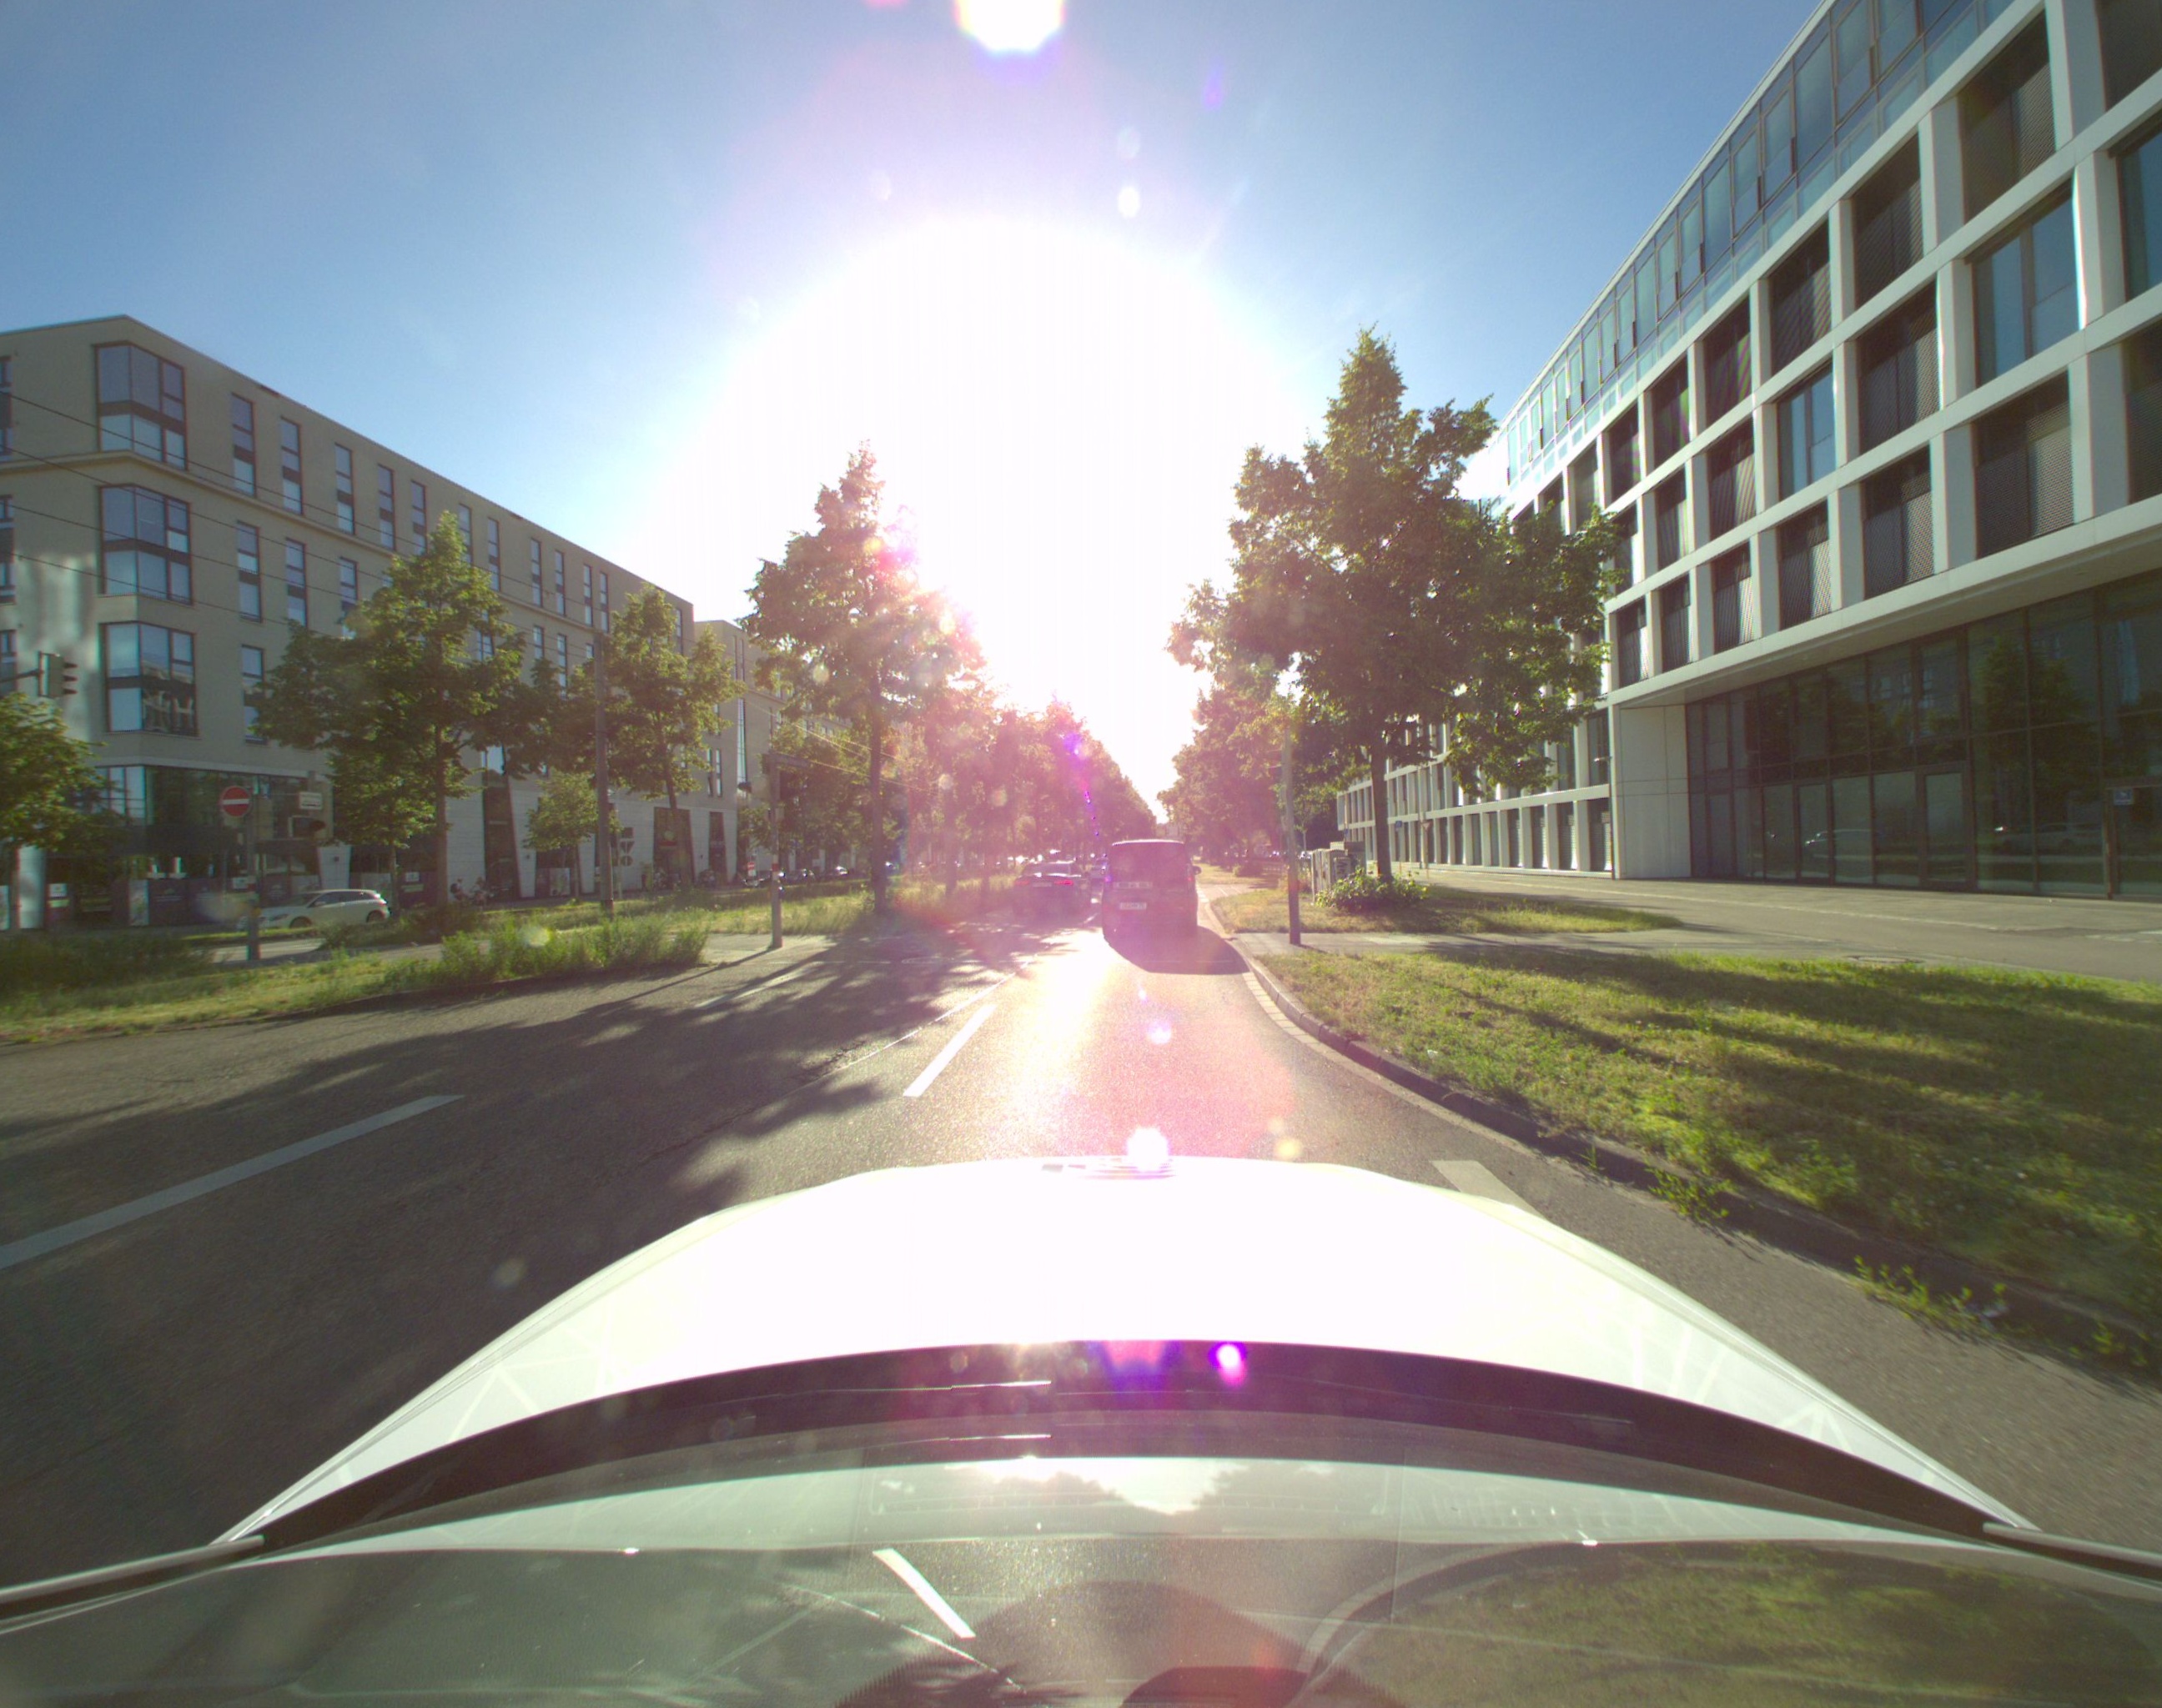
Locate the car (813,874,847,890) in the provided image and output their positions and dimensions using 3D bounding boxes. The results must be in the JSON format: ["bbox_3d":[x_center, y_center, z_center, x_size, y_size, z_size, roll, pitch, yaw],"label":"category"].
[{"bbox_3d":[-23.230,2.594,75.515,1.572,1.342,3.719,-2,0,6],"label":"car"}]

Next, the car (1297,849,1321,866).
[{"bbox_3d":[22.150,0.348,79.191,1.808,1.532,3.447,-2,0,10],"label":"car"}]

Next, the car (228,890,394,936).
[{"bbox_3d":[-28.338,2.120,30.211,1.572,1.342,4.480,-2,0,6],"label":"car"}]

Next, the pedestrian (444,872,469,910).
[{"bbox_3d":[-30.353,1.780,39.586,0.576,1.812,0.801,-1,-1,3],"label":"pedestrian"}]

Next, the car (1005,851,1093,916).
[{"bbox_3d":[-0.759,0.724,22.180,1.799,1.527,4.119,-2,0,5],"label":"car"}]

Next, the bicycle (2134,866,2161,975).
[{"bbox_3d":[12.383,0.723,8.247,0.743,1.174,1.951,-2,0,-15],"label":"bicycle"}]

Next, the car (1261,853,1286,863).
[{"bbox_3d":[27.907,0.544,118.006,3.375,1.358,1.476,-2,0,13],"label":"car"}]

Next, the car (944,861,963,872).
[{"bbox_3d":[-17.729,1.754,113.254,1.572,1.342,3.719,-2,0,6],"label":"car"}]

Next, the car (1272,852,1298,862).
[{"bbox_3d":[28.318,0.412,113.100,3.375,1.358,1.476,-2,0,13],"label":"car"}]

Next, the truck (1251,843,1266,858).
[{"bbox_3d":[31.532,-0.625,144.677,1.822,2.501,5.943,-2,0,6],"label":"truck"}]

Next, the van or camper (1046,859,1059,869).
[{"bbox_3d":[-5.307,1.792,152.056,1.811,1.738,3.719,-2,0,6],"label":"van or camper"}]

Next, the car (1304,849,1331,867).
[{"bbox_3d":[21.558,0.352,74.388,1.748,1.611,3.912,-2,0,8],"label":"car"}]

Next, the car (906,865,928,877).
[{"bbox_3d":[-20.285,2.107,100.882,1.572,1.342,3.719,-2,0,6],"label":"car"}]

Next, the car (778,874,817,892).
[{"bbox_3d":[-23.860,2.454,68.688,1.572,1.342,3.719,-2,0,6],"label":"car"}]

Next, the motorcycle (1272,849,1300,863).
[{"bbox_3d":[26.580,0.249,105.613,3.375,1.663,1.476,-2,0,13],"label":"motorcycle"}]

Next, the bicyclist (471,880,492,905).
[{"bbox_3d":[-32.339,2.069,43.938,0.575,1.293,0.706,-1,-1,7],"label":"bicyclist"}]

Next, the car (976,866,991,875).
[{"bbox_3d":[-16.033,2.723,133.964,1.572,1.342,3.719,-2,0,6],"label":"car"}]

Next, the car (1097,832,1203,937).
[{"bbox_3d":[1.340,0.554,16.430,1.800,1.794,4.116,-2,-1,3],"label":"car"}]

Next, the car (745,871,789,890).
[{"bbox_3d":[-24.228,2.019,62.878,1.572,1.342,3.719,-2,0,6],"label":"car"}]

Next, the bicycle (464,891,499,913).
[{"bbox_3d":[-32.324,2.567,43.924,0.525,1.111,1.641,-1,0,7],"label":"bicycle"}]

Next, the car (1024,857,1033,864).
[{"bbox_3d":[-13.524,1.659,210.174,1.723,1.772,4.007,-2,0,6],"label":"car"}]

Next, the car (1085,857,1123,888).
[{"bbox_3d":[1.234,0.911,42.521,1.800,1.434,4.117,-2,0,4],"label":"car"}]

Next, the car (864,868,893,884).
[{"bbox_3d":[-21.882,2.341,88.148,1.767,1.528,3.813,-2,0,6],"label":"car"}]

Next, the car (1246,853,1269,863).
[{"bbox_3d":[27.083,0.645,125.063,3.375,1.358,1.476,-2,0,13],"label":"car"}]
